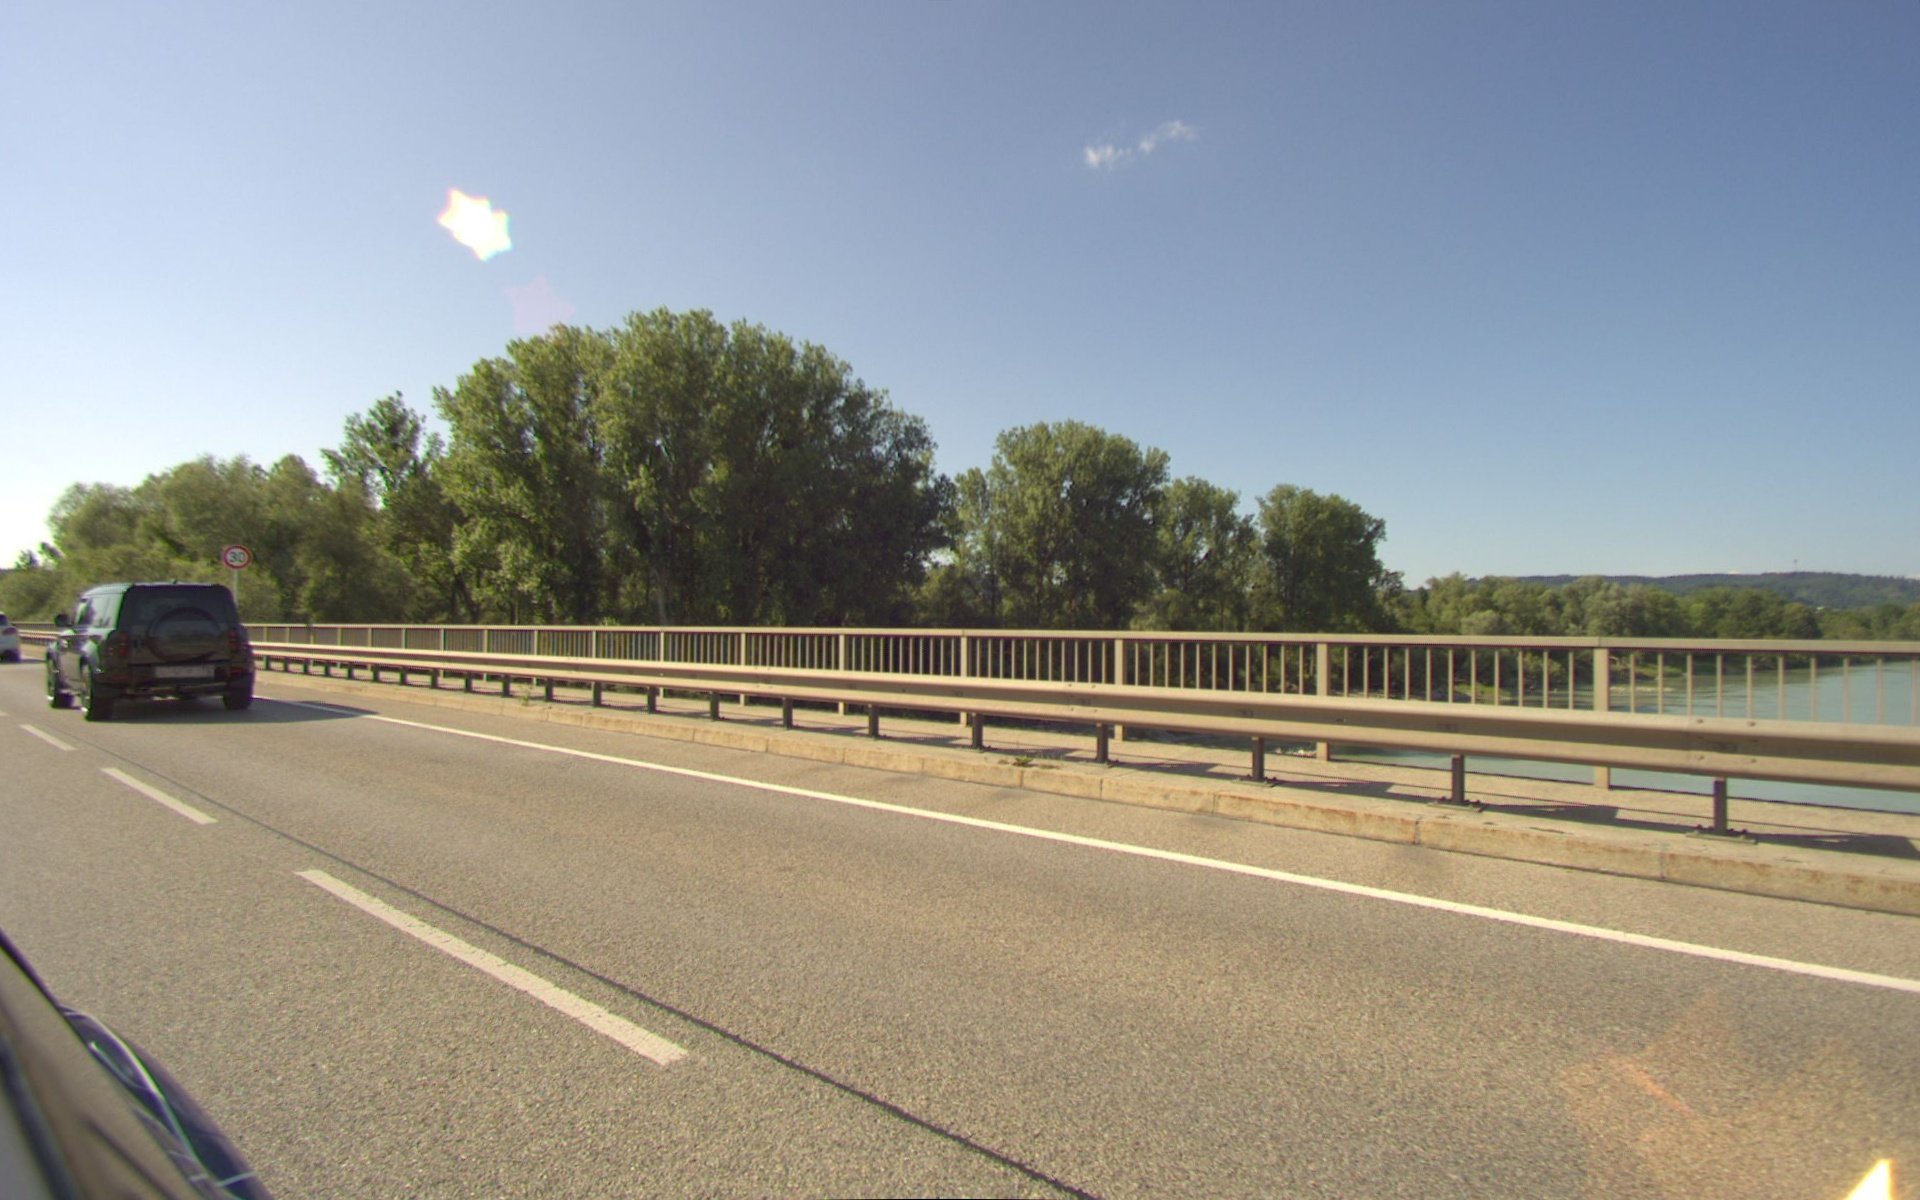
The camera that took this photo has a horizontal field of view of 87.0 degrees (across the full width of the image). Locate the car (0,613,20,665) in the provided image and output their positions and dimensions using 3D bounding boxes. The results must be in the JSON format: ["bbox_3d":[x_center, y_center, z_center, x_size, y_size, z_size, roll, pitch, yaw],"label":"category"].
[{"bbox_3d":[-32.485,1.284,33.220,4.596,1.664,1.962,-1,-1,42],"label":"car"}]

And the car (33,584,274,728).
[{"bbox_3d":[-12.593,0.767,15.668,5.066,1.888,2.016,-1,-1,41],"label":"car"}]
